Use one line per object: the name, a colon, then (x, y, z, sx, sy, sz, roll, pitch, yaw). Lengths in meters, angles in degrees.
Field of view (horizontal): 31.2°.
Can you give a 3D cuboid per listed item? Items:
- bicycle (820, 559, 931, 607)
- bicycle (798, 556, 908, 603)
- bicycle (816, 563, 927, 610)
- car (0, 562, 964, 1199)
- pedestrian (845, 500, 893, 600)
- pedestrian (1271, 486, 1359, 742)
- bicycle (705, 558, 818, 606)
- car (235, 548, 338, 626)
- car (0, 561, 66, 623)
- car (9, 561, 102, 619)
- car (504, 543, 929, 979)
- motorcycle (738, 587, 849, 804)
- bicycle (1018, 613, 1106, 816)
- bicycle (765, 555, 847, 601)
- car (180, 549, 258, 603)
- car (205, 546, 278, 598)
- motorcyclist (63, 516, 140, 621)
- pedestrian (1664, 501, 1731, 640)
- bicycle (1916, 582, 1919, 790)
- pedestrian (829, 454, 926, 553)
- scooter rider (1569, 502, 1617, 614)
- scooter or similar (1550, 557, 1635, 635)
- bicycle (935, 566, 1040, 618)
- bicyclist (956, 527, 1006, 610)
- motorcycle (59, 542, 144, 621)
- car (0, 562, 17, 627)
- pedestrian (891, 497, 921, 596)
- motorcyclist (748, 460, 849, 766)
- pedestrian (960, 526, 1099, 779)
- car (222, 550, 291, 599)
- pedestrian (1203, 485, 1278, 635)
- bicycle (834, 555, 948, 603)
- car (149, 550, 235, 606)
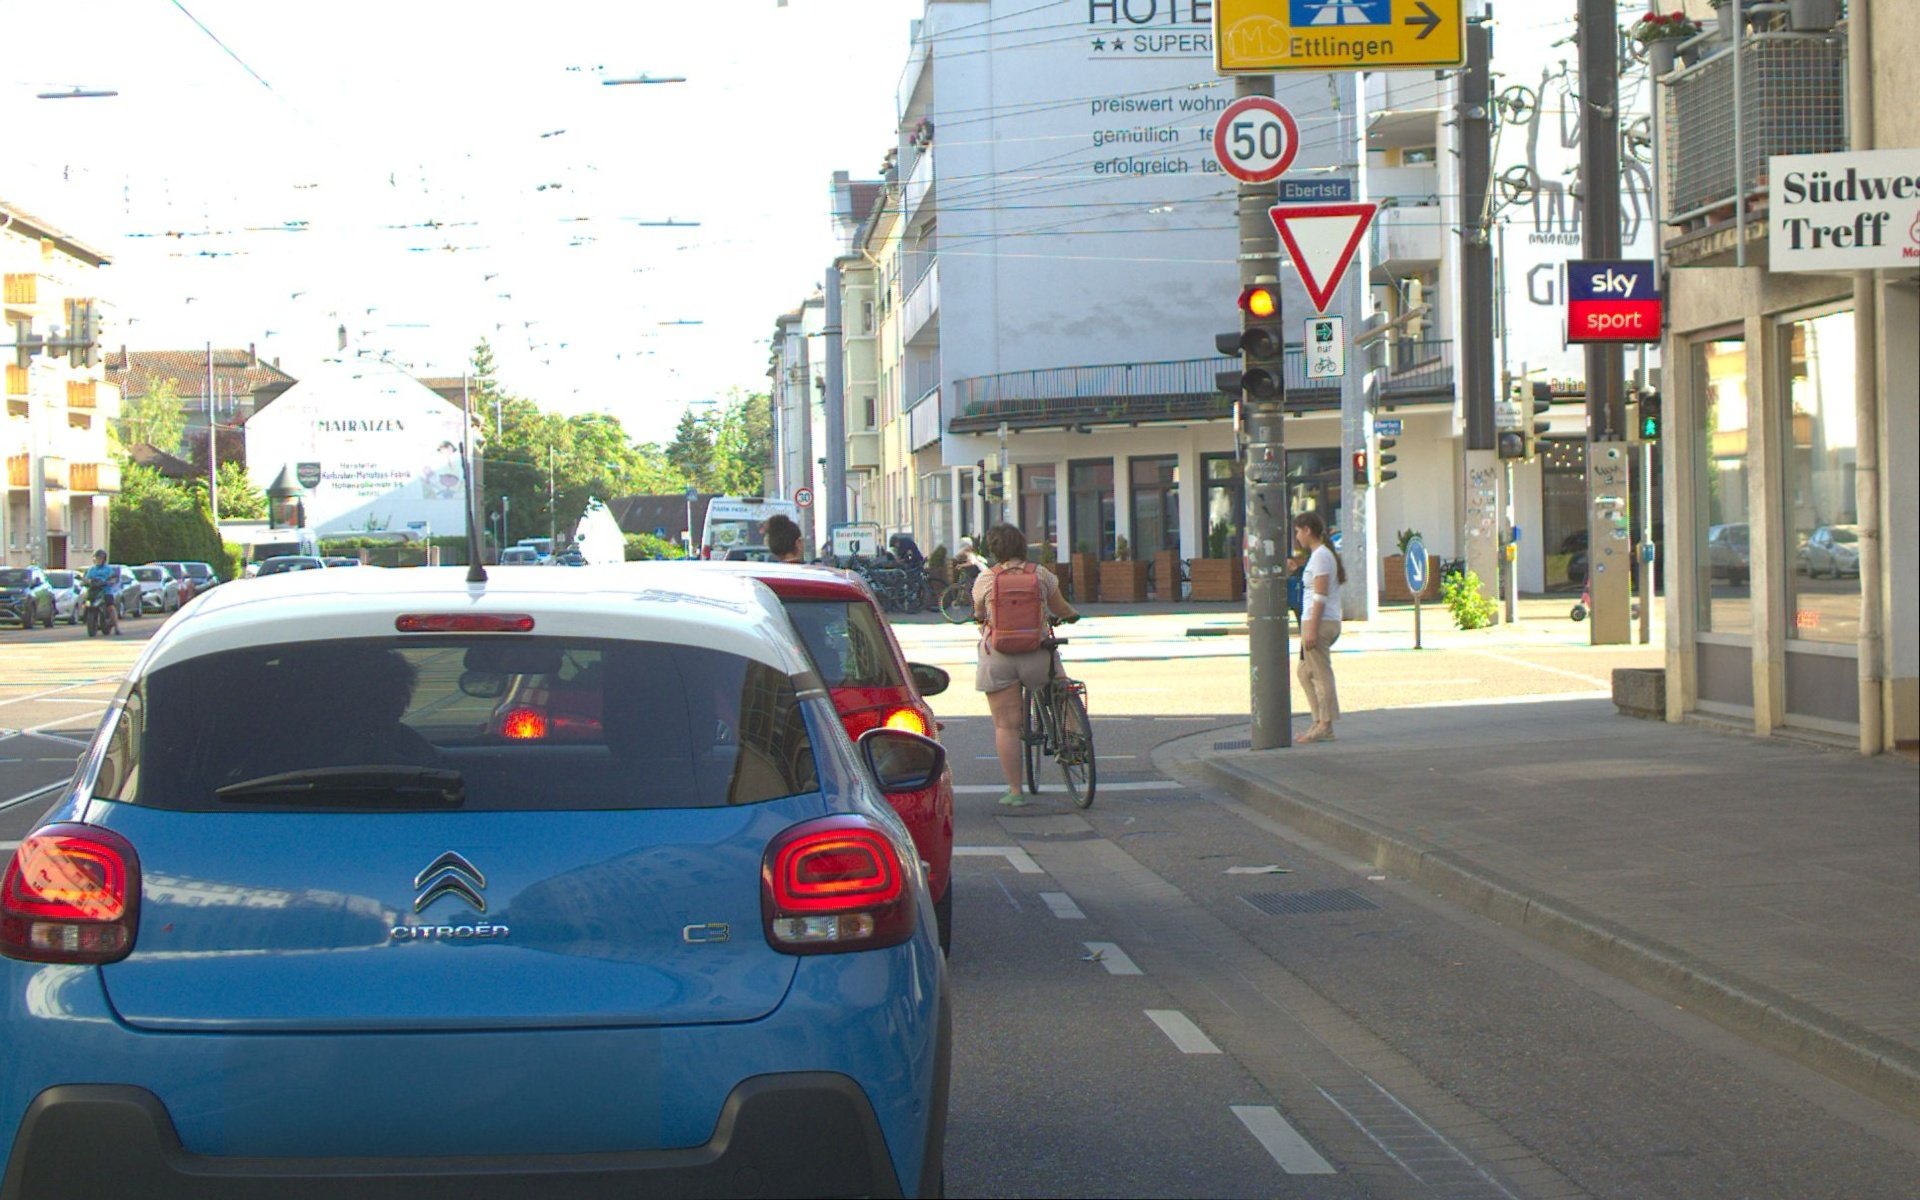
bicycle: (-1.648, -0.330, 67.132, 2.132, 0.898, 0.367, 1, 0, -9)
bicycle: (-2.125, -0.409, 68.293, 2.132, 0.898, 0.367, 1, 0, -9)
bicycle: (-1.742, -0.272, 67.633, 2.132, 0.898, 0.367, 1, 0, -9)
car: (-0.851, 0.653, 7.175, 1.654, 1.439, 3.523, 1, 1, -1)
pedestrian: (-1.832, -1.006, 69.138, 0.630, 2.007, 0.724, 1, 0, -36)
pedestrian: (2.504, 0.097, 24.285, 0.517, 1.777, 0.595, 1, 0, -2)
bicycle: (-3.824, -0.352, 66.320, 2.132, 0.898, 0.367, 1, 0, -9)
car: (-14.950, -0.310, 76.421, 1.774, 1.660, 3.857, 1, 1, -4)
car: (-23.692, -0.214, 86.088, 1.785, 1.493, 4.001, 1, 1, -4)
car: (-24.184, -0.281, 92.033, 1.732, 1.493, 4.001, 1, 1, -5)
car: (-0.849, 0.538, 13.224, 1.424, 1.462, 2.924, -1, 0, -1)
motorcycle: (-0.925, 0.504, 19.438, 0.526, 1.136, 2.290, 1, 1, -1)
bicycle: (0.595, 0.656, 20.546, 0.427, 1.119, 1.998, 1, 1, -1)
bicycle: (-3.113, -0.447, 69.456, 1.785, 0.898, 0.366, 1, 1, 34)
car: (-23.953, -0.787, 111.282, 1.882, 1.681, 4.001, 1, 1, -4)
car: (-24.374, -0.957, 116.715, 1.833, 1.681, 4.001, 1, 1, -4)
motorcyclist: (-16.728, -0.625, 67.042, 1.185, 2.007, 1.276, -1, 1, -3)
pedestrian: (8.634, -0.344, 40.215, 0.736, 1.595, 0.748, 1, 0, 13)
bicycle: (4.898, 0.425, 15.732, 0.542, 0.995, 1.706, 1, 1, -1)
pedestrian: (-1.748, -2.037, 73.531, 1.993, 2.007, 4.000, 1, 1, -1)
scooter rider: (10.435, -0.684, 56.710, 0.722, 1.826, 0.717, -1, -1, 10)
scooter or similar: (10.427, -0.063, 56.695, 1.350, 1.265, 0.443, -1, -1, 9)
bicycle: (0.490, -0.143, 61.564, 1.855, 0.900, 0.349, 1, 0, 19)
bicyclist: (0.379, -0.557, 61.621, 0.746, 1.472, 0.562, 1, 0, 19)
motorcycle: (-16.731, -0.374, 67.079, 0.923, 1.481, 3.726, 1, 1, -3)
car: (-23.179, -0.138, 79.290, 1.787, 1.506, 4.150, 1, 1, -2)
pedestrian: (-1.100, -1.092, 70.158, 0.577, 2.007, 0.626, 1, 0, -3)
motorcyclist: (-0.917, 0.069, 19.620, 0.526, 1.710, 0.717, 1, 0, -1)
pedestrian: (0.400, 0.299, 20.251, 0.777, 1.455, 0.682, 1, 0, -1)
car: (-24.803, -0.900, 121.289, 1.846, 1.681, 3.875, 1, 1, -4)
pedestrian: (3.824, -0.546, 46.898, 0.926, 2.007, 0.759, 1, 0, -1)
bicycle: (-1.324, -0.399, 65.947, 2.132, 0.898, 0.367, 1, 0, -9)
car: (-23.751, -0.701, 106.419, 1.983, 1.681, 4.001, 1, 1, -3)
